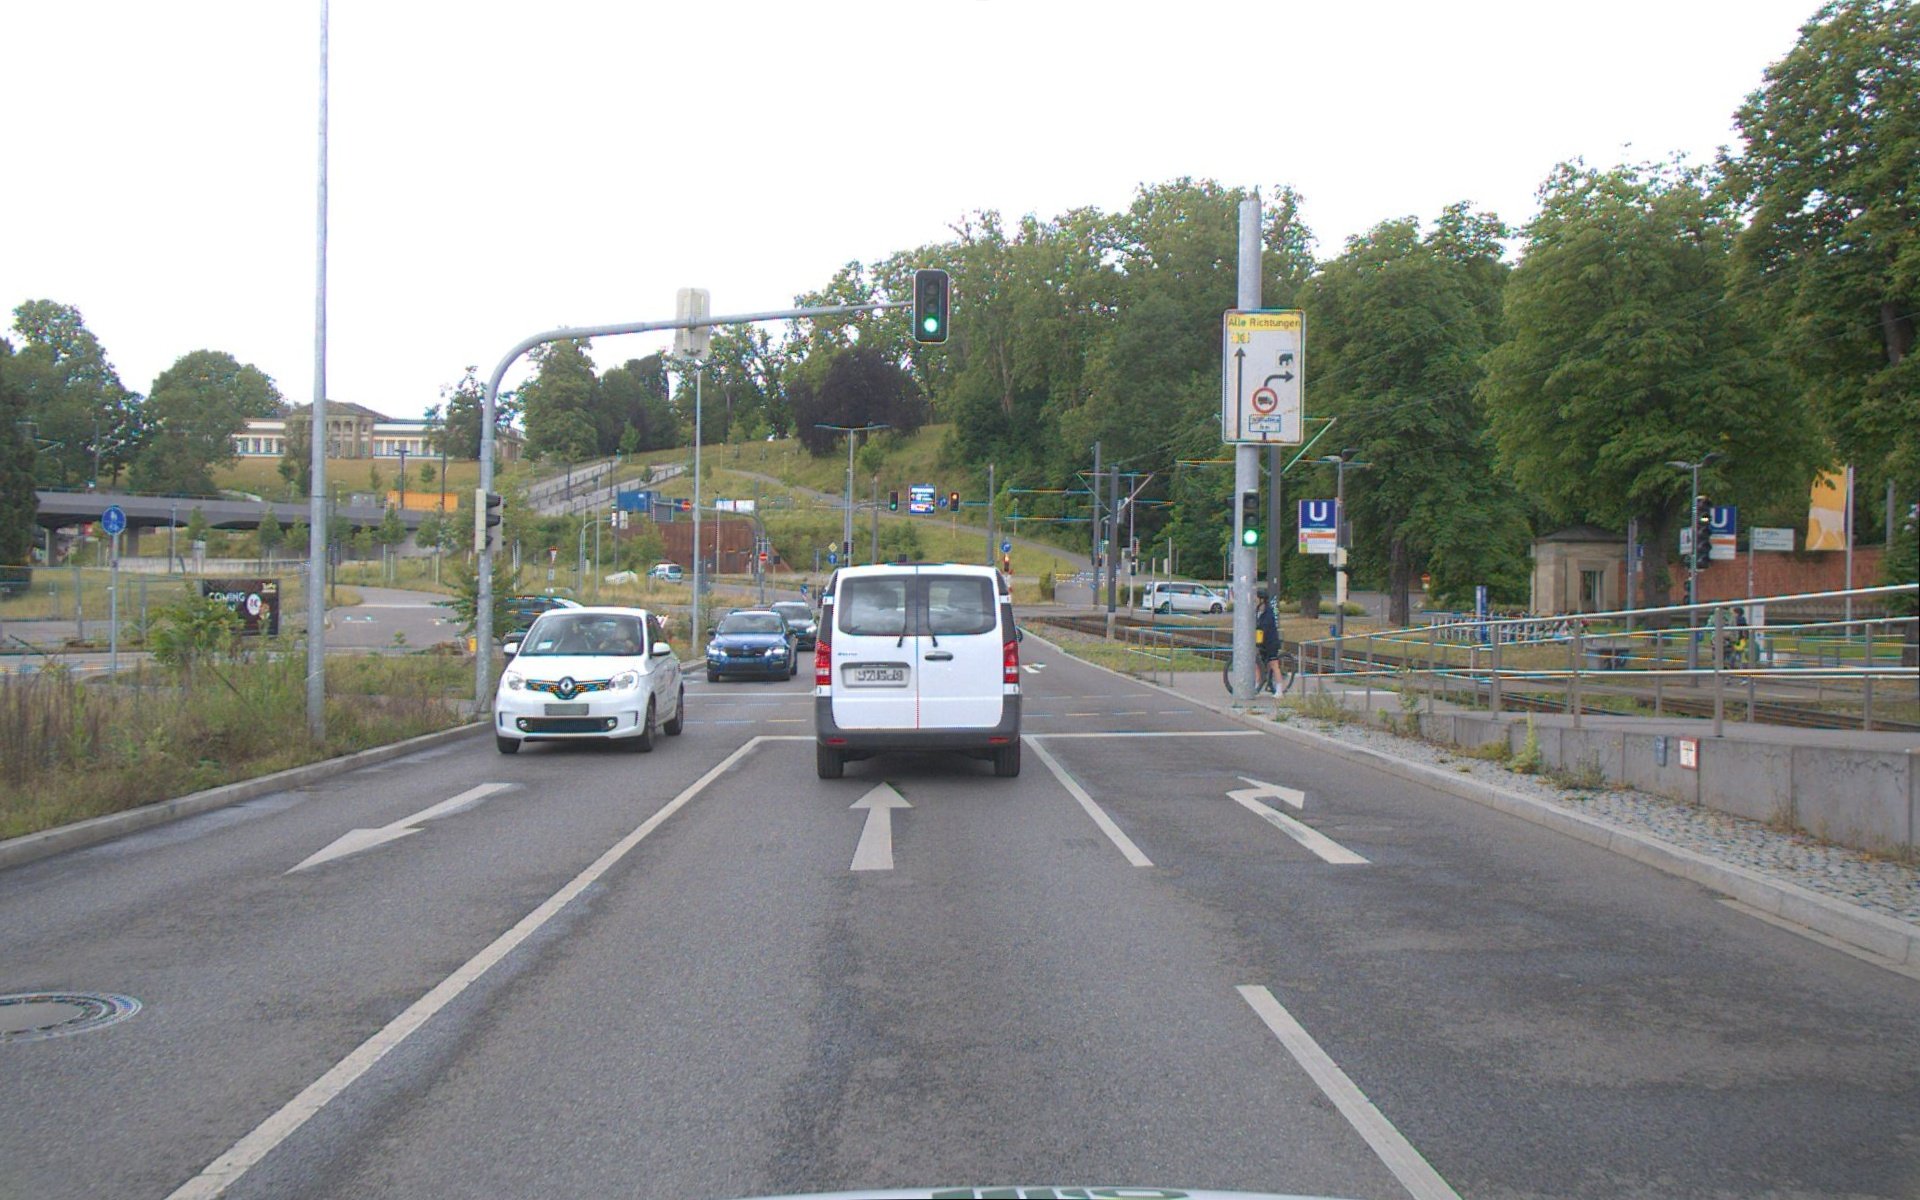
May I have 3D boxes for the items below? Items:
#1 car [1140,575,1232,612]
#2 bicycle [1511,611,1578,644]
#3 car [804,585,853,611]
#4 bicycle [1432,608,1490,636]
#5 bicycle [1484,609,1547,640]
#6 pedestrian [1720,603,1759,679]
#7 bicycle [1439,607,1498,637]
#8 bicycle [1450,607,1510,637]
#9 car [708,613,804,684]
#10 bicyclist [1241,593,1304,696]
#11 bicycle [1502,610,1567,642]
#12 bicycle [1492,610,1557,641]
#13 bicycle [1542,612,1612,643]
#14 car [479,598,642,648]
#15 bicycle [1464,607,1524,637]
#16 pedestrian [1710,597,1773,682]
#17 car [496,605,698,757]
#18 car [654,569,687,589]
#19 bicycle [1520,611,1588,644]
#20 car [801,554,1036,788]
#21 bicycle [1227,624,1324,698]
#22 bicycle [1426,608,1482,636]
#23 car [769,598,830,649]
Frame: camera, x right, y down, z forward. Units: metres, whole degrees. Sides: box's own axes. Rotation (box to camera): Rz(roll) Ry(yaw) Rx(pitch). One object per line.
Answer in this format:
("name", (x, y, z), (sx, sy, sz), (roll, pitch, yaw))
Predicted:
("car", (13.578, -0.389, 99.679), (5.042, 2.049, 2.202), (2, 0, -11))
("bicycle", (18.016, 0.846, 50.984), (1.873, 0.992, 0.530), (0, 0, -1))
("car", (-8.920, -0.124, 111.999), (1.914, 1.655, 3.966), (1, 0, -26))
("bicycle", (17.630, 0.767, 58.197), (1.873, 0.992, 0.530), (0, 0, -1))
("bicycle", (17.940, 0.798, 53.445), (1.873, 0.992, 0.530), (0, 0, -1))
("pedestrian", (15.870, 0.835, 33.669), (0.490, 1.528, 0.512), (0, 0, -24))
("bicycle", (17.579, 0.758, 57.214), (1.873, 0.992, 0.530), (0, 0, -1))
("bicycle", (17.764, 0.750, 56.492), (1.873, 0.992, 0.530), (0, 0, -1))
("car", (-4.419, 1.023, 36.355), (1.695, 1.446, 4.443), (-1, -1, -2))
("bicyclist", (4.970, 0.690, 26.287), (0.799, 1.599, 0.609), (0, 1, -41))
("bicycle", (18.025, 0.800, 51.925), (1.873, 0.992, 0.530), (0, 0, -1))
("bicycle", (17.974, 0.806, 52.664), (1.873, 0.992, 0.530), (0, 0, -1))
("bicycle", (18.361, 0.811, 49.234), (1.873, 0.911, 0.530), (0, 0, -1))
("car", (-12.690, 0.716, 52.657), (4.608, 1.503, 2.002), (0, 1, 8))
("bicycle", (17.973, 0.745, 55.684), (1.873, 0.992, 0.530), (0, 0, -1))
("pedestrian", (15.357, 0.772, 32.522), (0.821, 1.637, 0.772), (0, 0, -24))
("car", (-4.073, 0.861, 19.143), (1.559, 1.544, 4.083), (1, -1, -2))
("car", (-25.925, -1.877, 147.999), (1.914, 1.655, 3.966), (1, 0, -26))
("bicycle", (18.081, 0.845, 50.339), (1.873, 0.992, 0.530), (0, 0, -1))
("car", (-0.250, 0.597, 16.035), (1.918, 1.937, 4.463), (-1, 0, 3))
("bicycle", (5.034, 0.959, 26.355), (1.669, 1.093, 0.611), (0, 1, -41))
("bicycle", (17.651, 0.775, 59.123), (1.873, 0.992, 0.530), (0, 0, -1))
("car", (-5.142, 0.760, 53.425), (1.695, 1.555, 4.443), (-1, -1, -2))
